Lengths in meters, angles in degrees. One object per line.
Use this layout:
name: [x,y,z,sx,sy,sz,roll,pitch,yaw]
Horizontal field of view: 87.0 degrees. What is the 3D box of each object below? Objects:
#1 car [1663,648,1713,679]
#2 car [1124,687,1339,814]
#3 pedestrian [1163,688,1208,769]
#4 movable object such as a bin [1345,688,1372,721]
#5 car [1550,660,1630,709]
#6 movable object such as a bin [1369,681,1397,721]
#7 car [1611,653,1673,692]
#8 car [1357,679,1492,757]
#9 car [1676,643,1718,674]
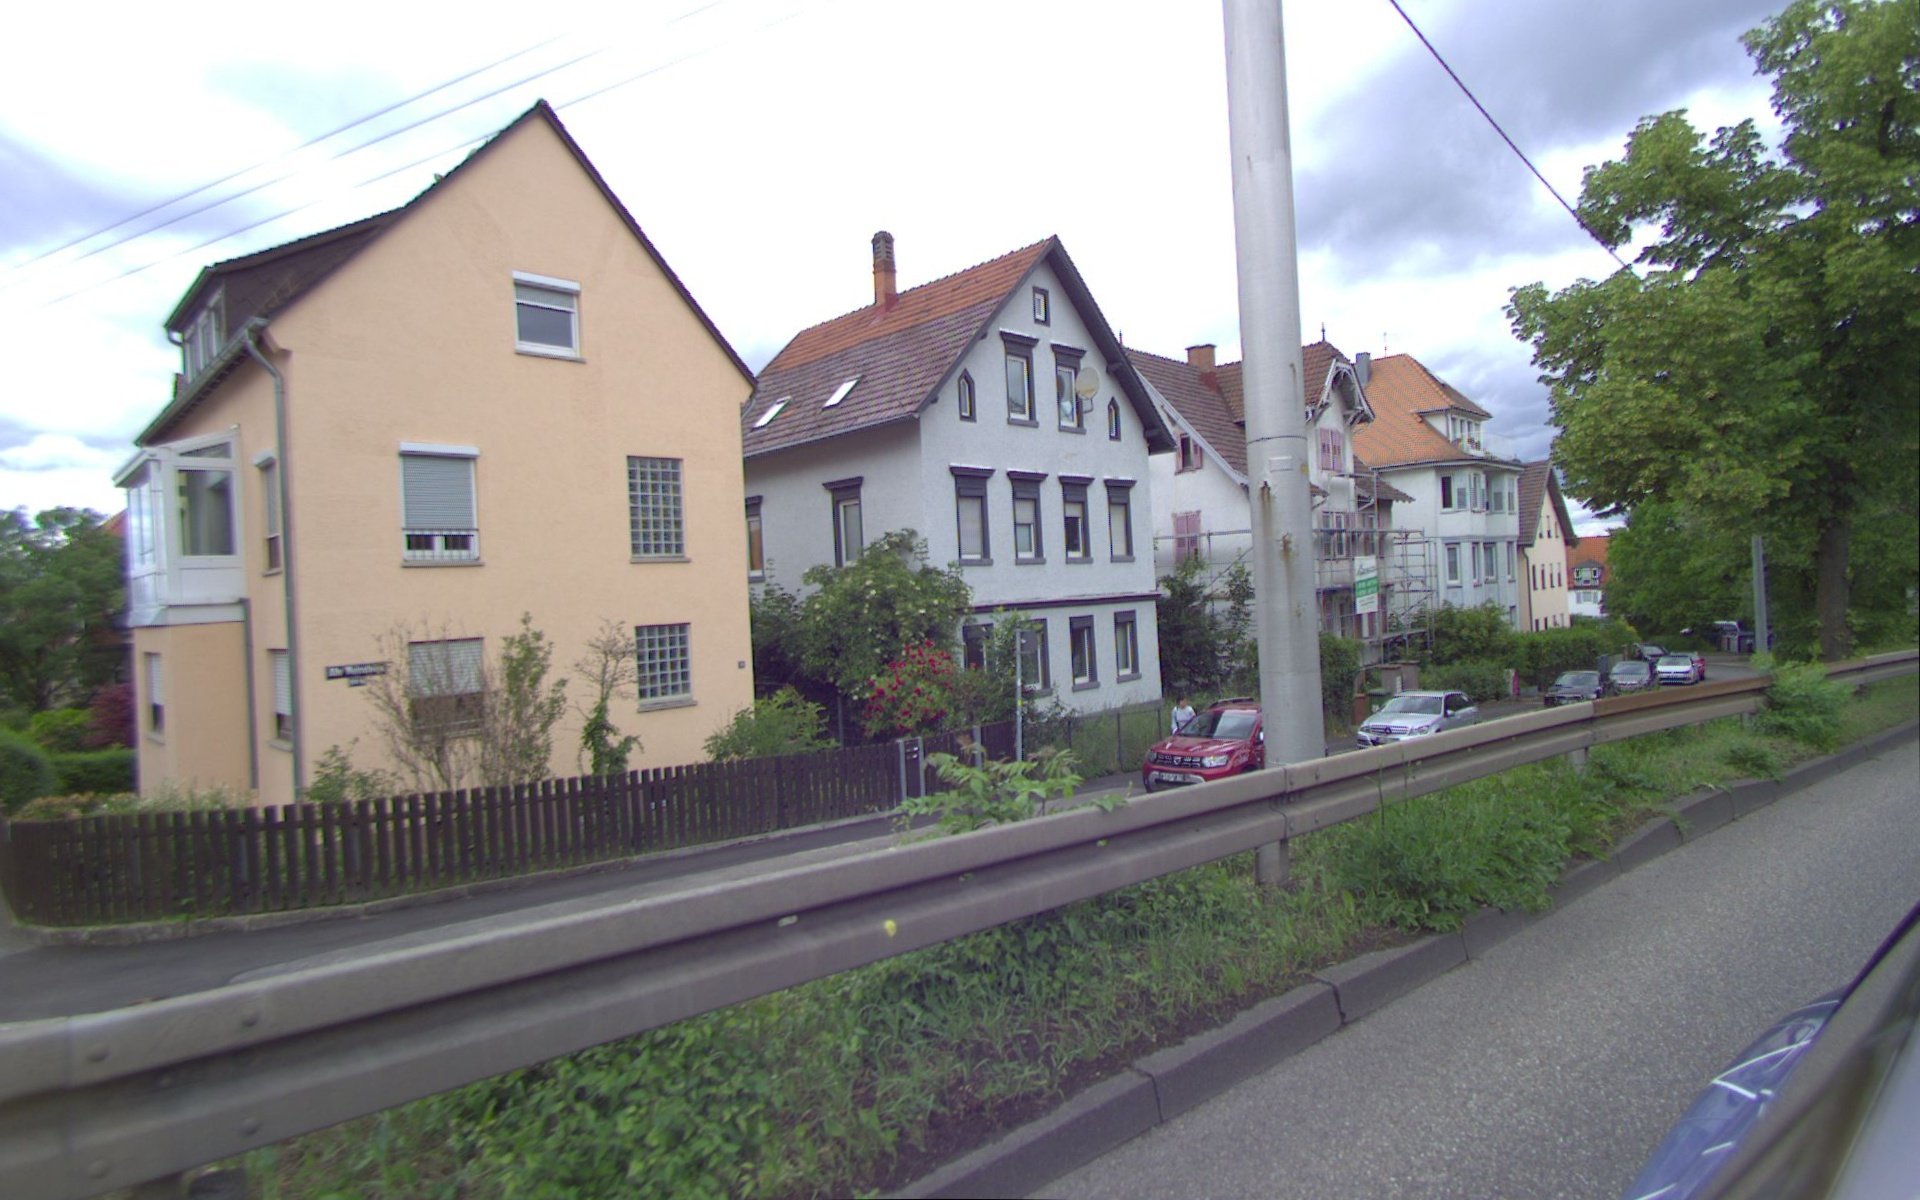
car: [37.083,3.214,51.535,1.644,1.413,3.713,-3,-3,41]
car: [4.818,2.488,17.654,1.782,1.692,4.135,-3,-3,44]
pedestrian: [4.440,2.506,19.928,0.580,1.500,0.618,1,-3,-44]
movable object such as a bin: [11.999,3.136,30.451,0.570,0.893,0.537,0,1,-40]
car: [22.369,2.946,35.892,1.618,1.467,3.993,-3,-3,43]
movable object such as a bin: [12.609,3.001,30.150,0.529,1.092,0.579,0,1,-40]
car: [28.969,3.042,42.934,1.617,1.467,3.968,-3,-3,41]
car: [11.230,2.748,24.334,1.618,1.460,4.363,-3,-3,43]
car: [40.548,3.170,55.643,1.616,1.541,4.243,-3,-3,39]
